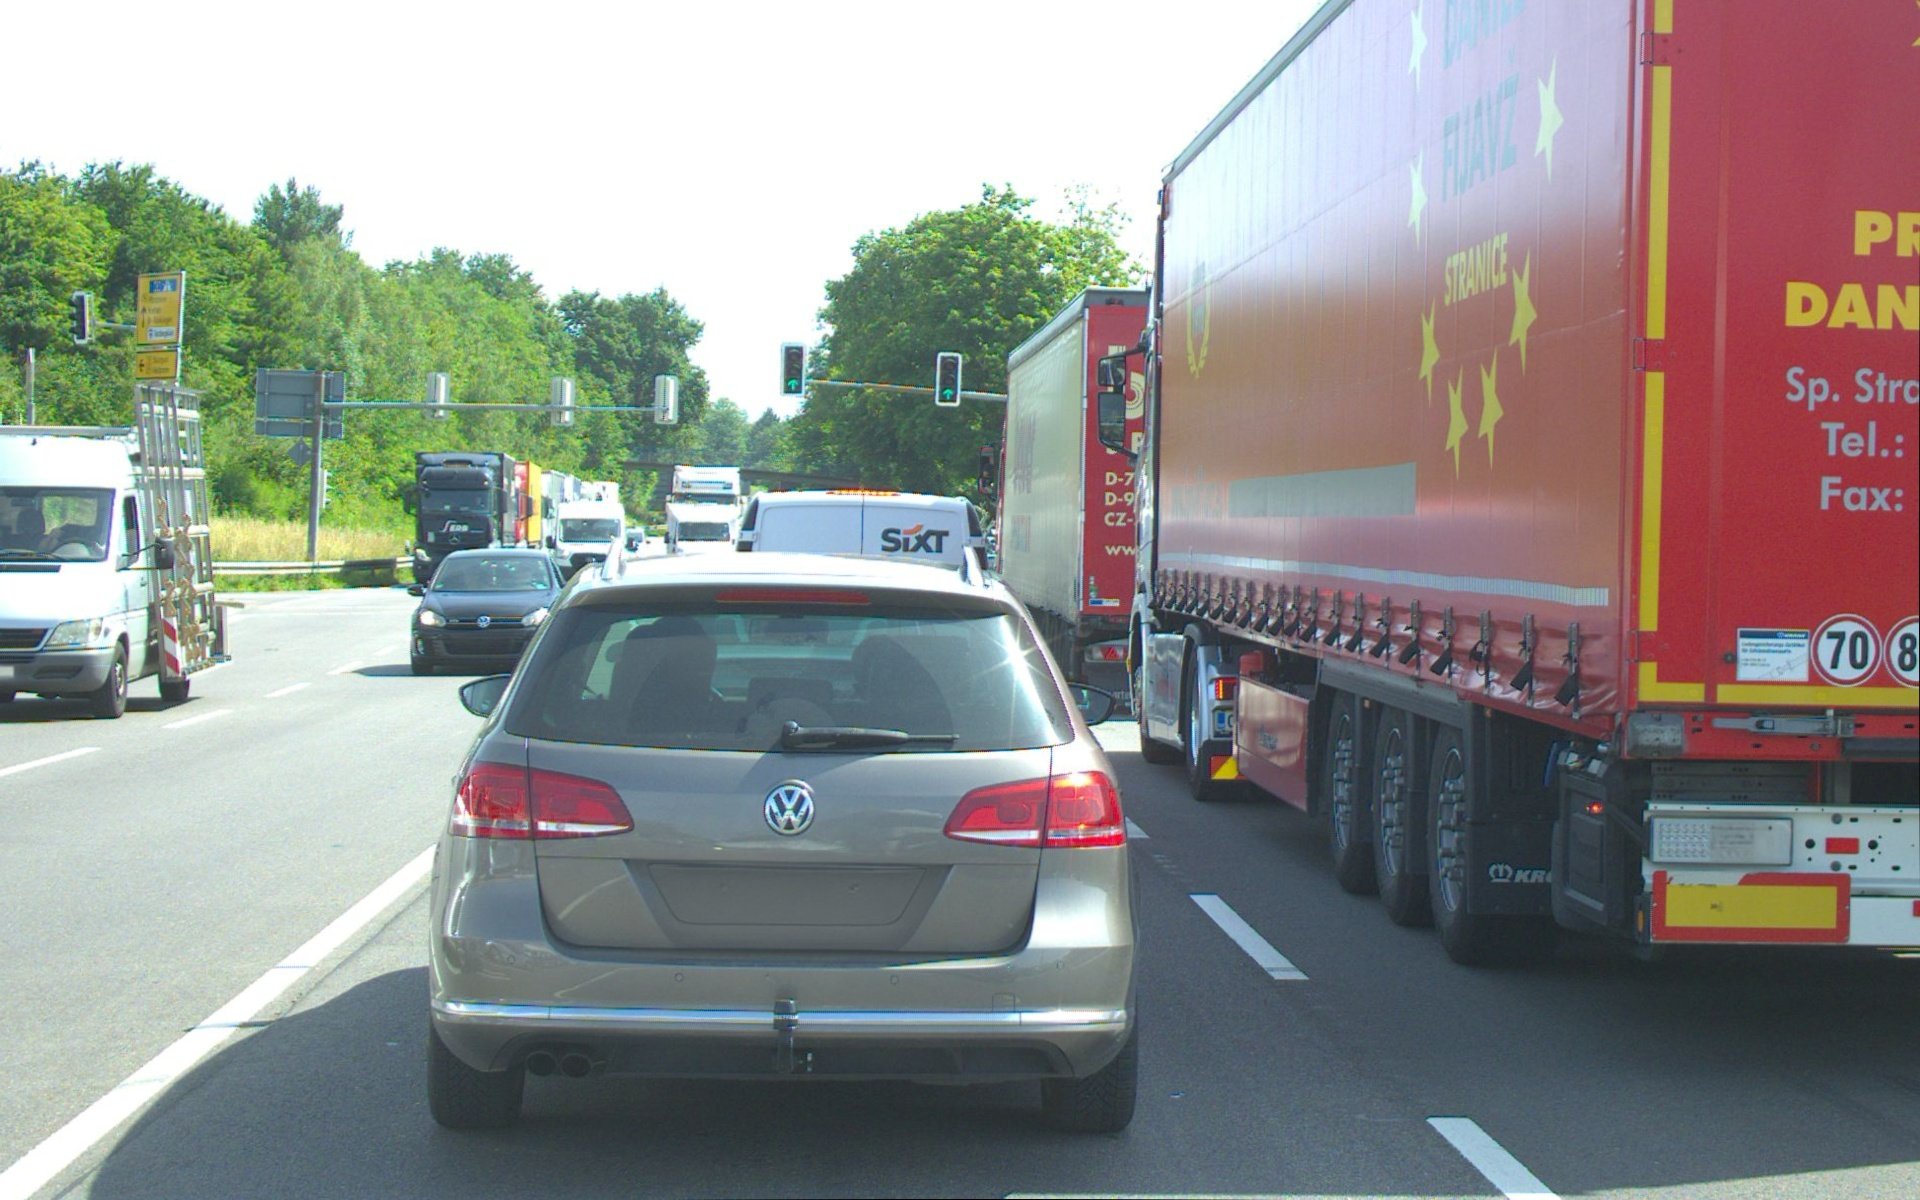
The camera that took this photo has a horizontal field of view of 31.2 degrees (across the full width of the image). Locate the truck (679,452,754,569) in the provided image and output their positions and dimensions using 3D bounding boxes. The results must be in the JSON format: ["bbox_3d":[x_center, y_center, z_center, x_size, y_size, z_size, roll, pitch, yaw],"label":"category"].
[{"bbox_3d":[-9.180,-3.381,130.223,2.552,4.292,7.596,0,1,-2],"label":"truck"}]

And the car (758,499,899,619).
[{"bbox_3d":[-1.738,-0.542,46.386,1.727,1.514,3.312,1,0,0],"label":"car"}]

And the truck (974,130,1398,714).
[{"bbox_3d":[2.076,-1.769,39.590,3.062,5.203,17.009,1,1,-2],"label":"truck"}]

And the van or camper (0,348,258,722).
[{"bbox_3d":[-8.115,-0.614,31.331,2.207,3.045,5.903,2,1,-1],"label":"van or camper"}]

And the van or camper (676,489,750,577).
[{"bbox_3d":[-8.268,-2.226,115.501,2.224,2.831,5.711,1,0,-2],"label":"van or camper"}]

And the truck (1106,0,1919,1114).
[{"bbox_3d":[2.909,-0.891,17.548,2.957,4.255,16.586,1,1,-2],"label":"truck"}]

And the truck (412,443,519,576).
[{"bbox_3d":[-14.606,-2.667,101.922,2.812,3.773,6.991,-1,1,-6],"label":"truck"}]

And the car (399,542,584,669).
[{"bbox_3d":[-5.482,0.032,40.598,1.666,1.404,3.926,-1,1,-1],"label":"car"}]

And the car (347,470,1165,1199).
[{"bbox_3d":[-0.411,0.513,9.297,1.790,1.633,3.503,0,1,1],"label":"car"}]

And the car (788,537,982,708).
[{"bbox_3d":[-0.717,0.194,33.015,1.727,1.514,3.312,1,0,-1],"label":"car"}]

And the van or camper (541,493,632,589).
[{"bbox_3d":[-10.292,-1.632,94.963,2.173,2.542,4.171,1,1,-2],"label":"van or camper"}]

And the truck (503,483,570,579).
[{"bbox_3d":[-17.110,-2.815,139.188,2.532,3.773,6.991,-1,1,-6],"label":"truck"}]

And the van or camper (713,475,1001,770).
[{"bbox_3d":[-0.757,0.112,24.566,1.852,1.899,3.785,1,1,-2],"label":"van or camper"}]

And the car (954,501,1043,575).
[{"bbox_3d":[0.814,-1.343,75.266,1.726,1.514,3.312,2,0,-2],"label":"car"}]

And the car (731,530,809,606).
[{"bbox_3d":[-4.886,-0.817,88.848,1.727,1.902,3.312,1,0,1],"label":"car"}]
